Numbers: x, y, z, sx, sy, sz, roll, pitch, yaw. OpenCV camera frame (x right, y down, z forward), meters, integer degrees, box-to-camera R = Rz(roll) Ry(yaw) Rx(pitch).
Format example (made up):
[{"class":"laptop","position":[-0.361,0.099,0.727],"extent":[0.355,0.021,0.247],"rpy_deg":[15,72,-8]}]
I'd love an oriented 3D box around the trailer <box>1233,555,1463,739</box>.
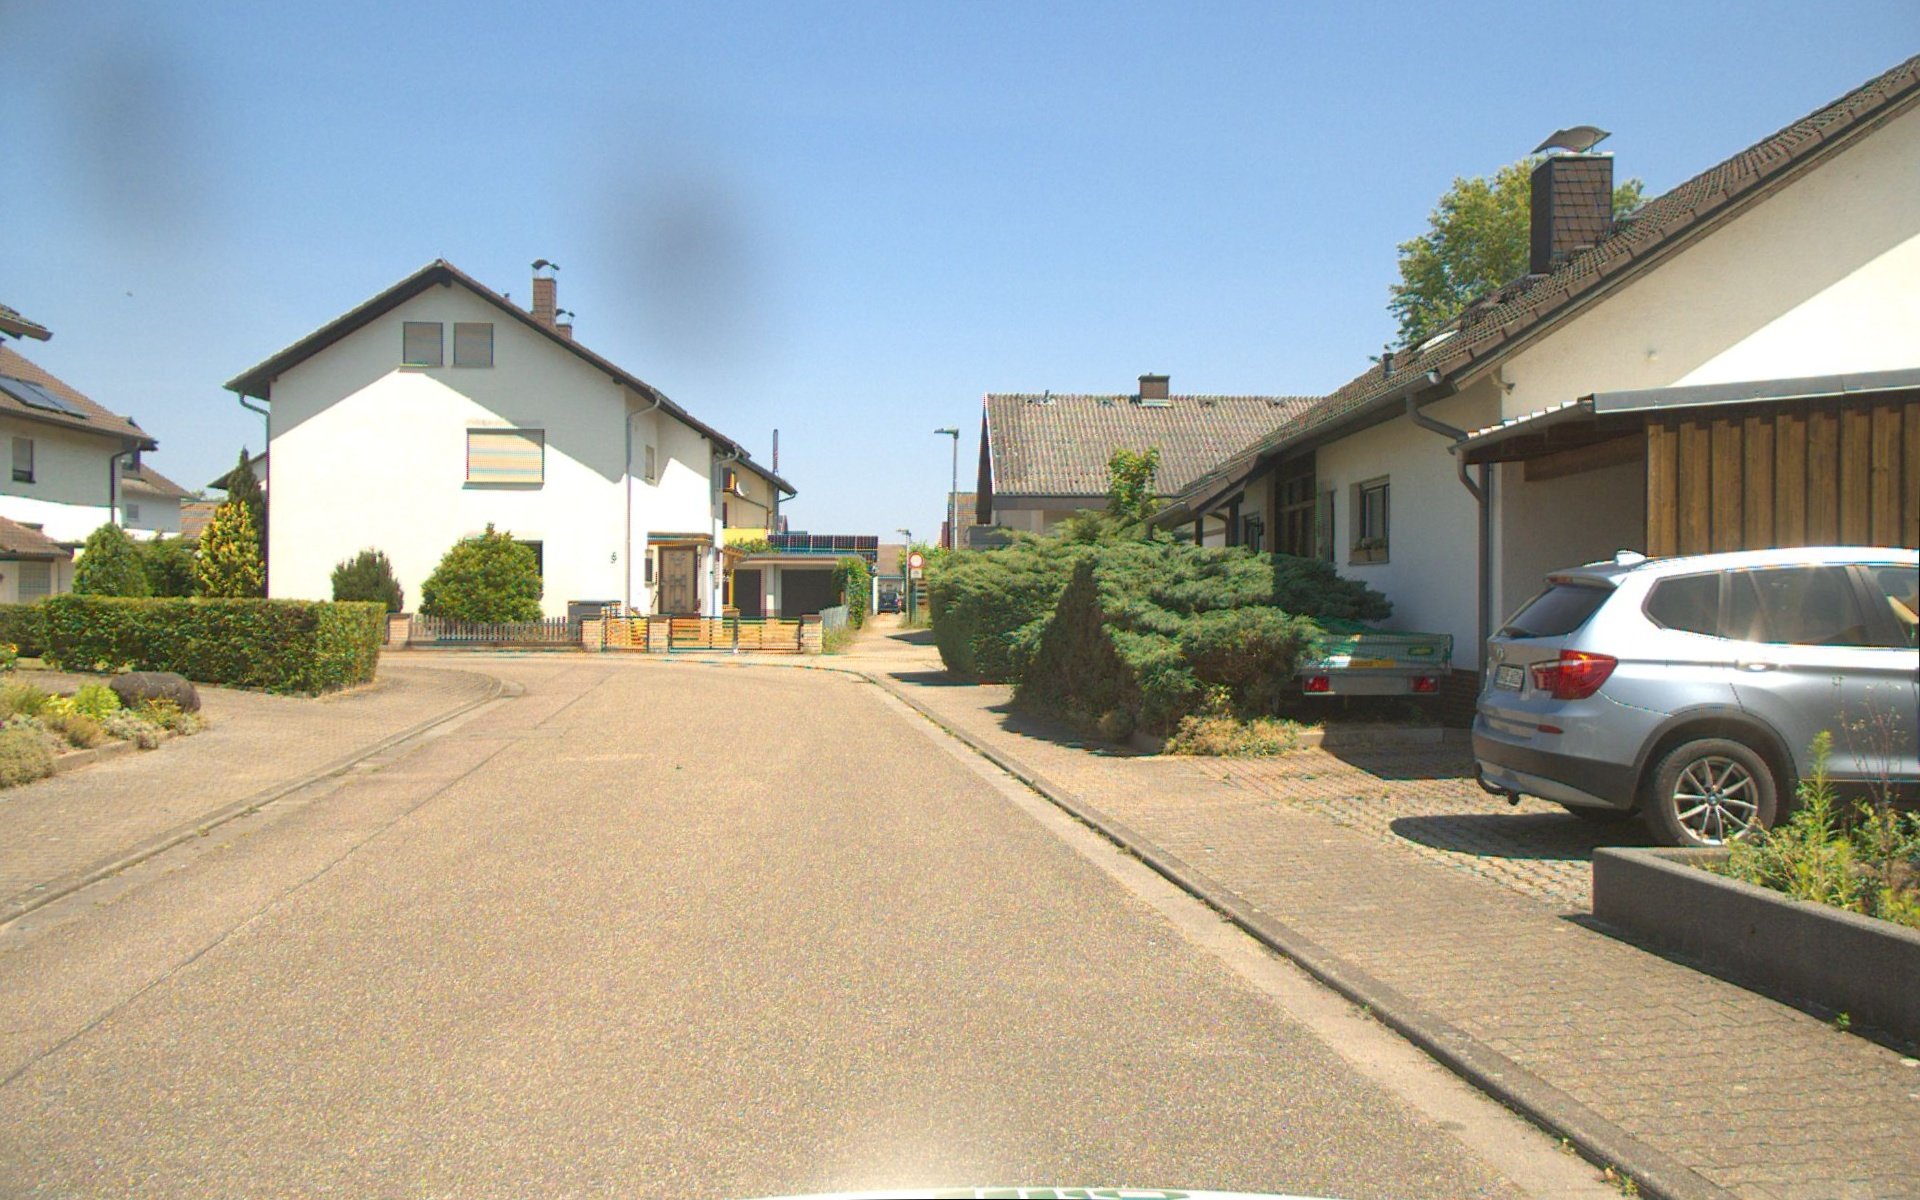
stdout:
[{"class":"trailer","position":[3.957,0.421,17.340],"extent":[1.555,1.701,3.296],"rpy_deg":[-2,1,-1]}]

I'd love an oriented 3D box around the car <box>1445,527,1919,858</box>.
[{"class":"car","position":[5.391,0.463,9.777],"extent":[4.531,1.732,1.710],"rpy_deg":[-2,0,1]}]

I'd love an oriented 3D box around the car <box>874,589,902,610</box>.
[{"class":"car","position":[-5.870,-0.057,135.150],"extent":[2.149,1.731,3.806],"rpy_deg":[0,0,-1]}]
